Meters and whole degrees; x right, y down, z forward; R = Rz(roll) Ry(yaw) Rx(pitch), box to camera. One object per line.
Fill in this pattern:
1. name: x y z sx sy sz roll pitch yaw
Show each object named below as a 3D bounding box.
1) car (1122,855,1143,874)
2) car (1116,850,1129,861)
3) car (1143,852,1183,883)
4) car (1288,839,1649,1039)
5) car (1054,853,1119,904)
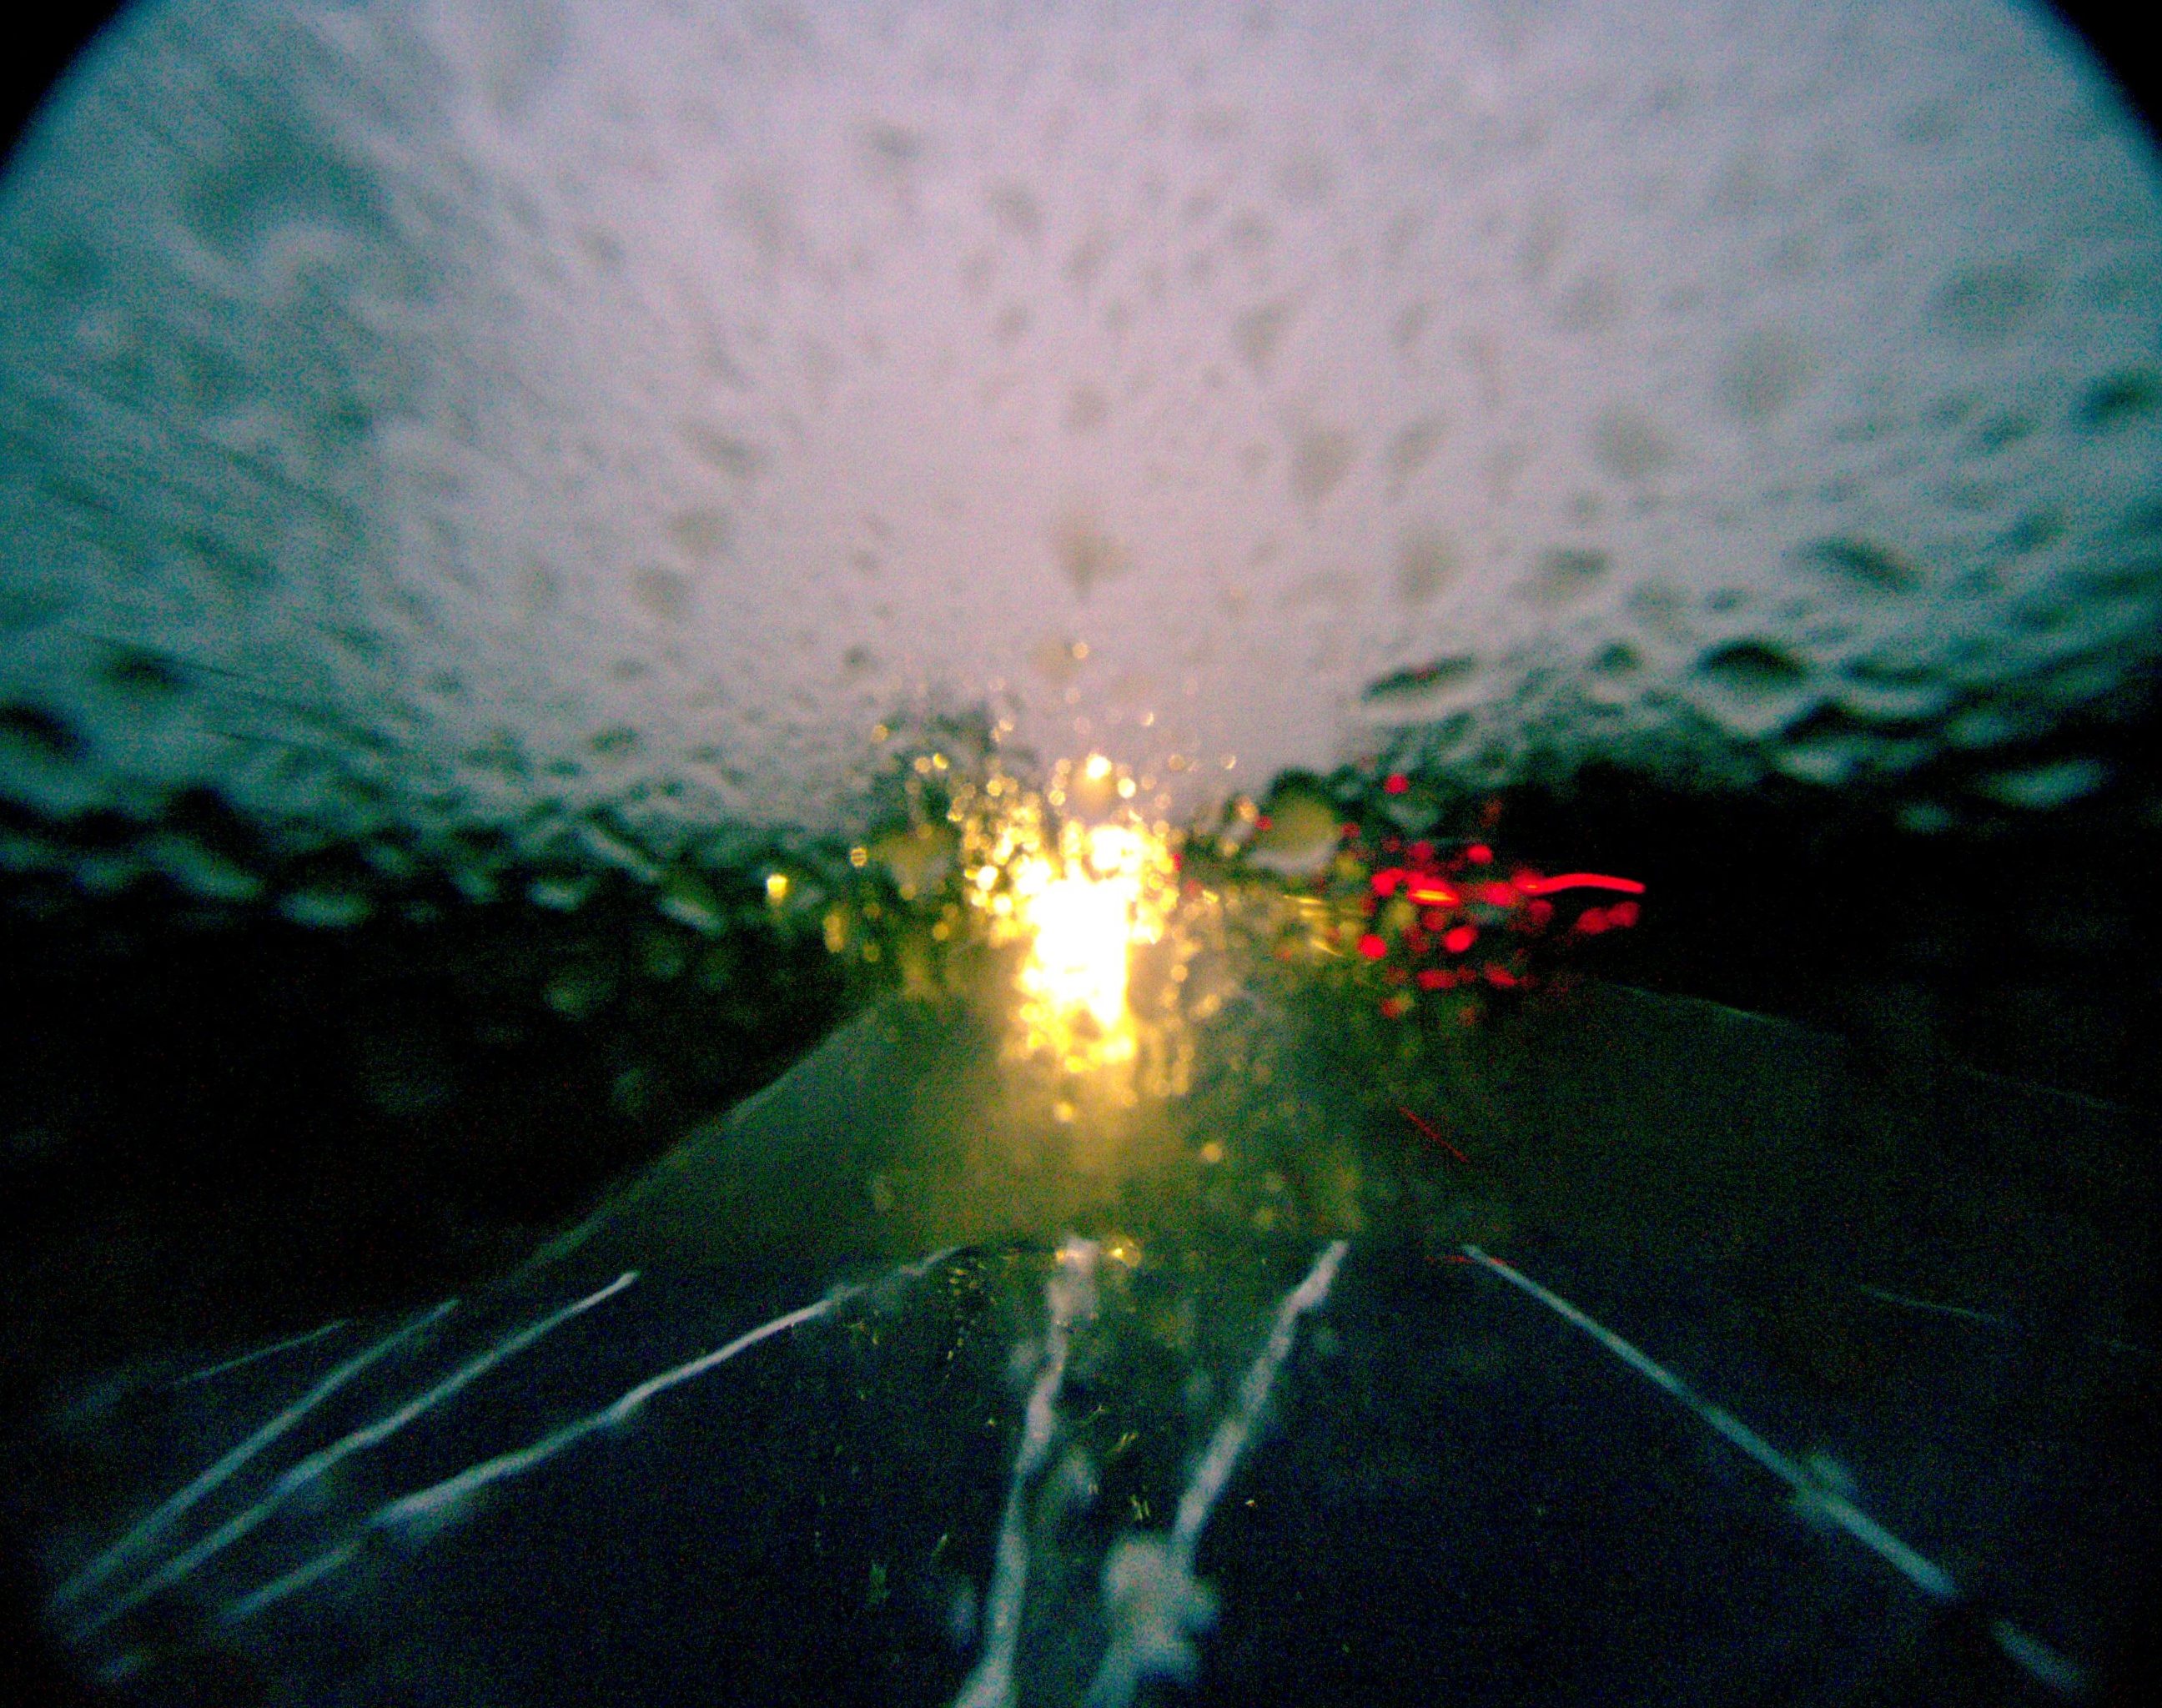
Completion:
1. car: 4.705 0.918 69.332 1.756 1.637 4.049 -2 0 3
2. car: 6.024 0.255 111.238 1.695 1.521 4.085 -2 0 1
3. car: 4.584 0.703 43.015 1.784 1.586 4.692 -2 0 1
4. car: 3.875 0.720 8.549 1.927 1.645 4.104 -2 0 0
5. car: 0.277 0.811 27.076 1.998 1.601 4.001 -2 0 4
